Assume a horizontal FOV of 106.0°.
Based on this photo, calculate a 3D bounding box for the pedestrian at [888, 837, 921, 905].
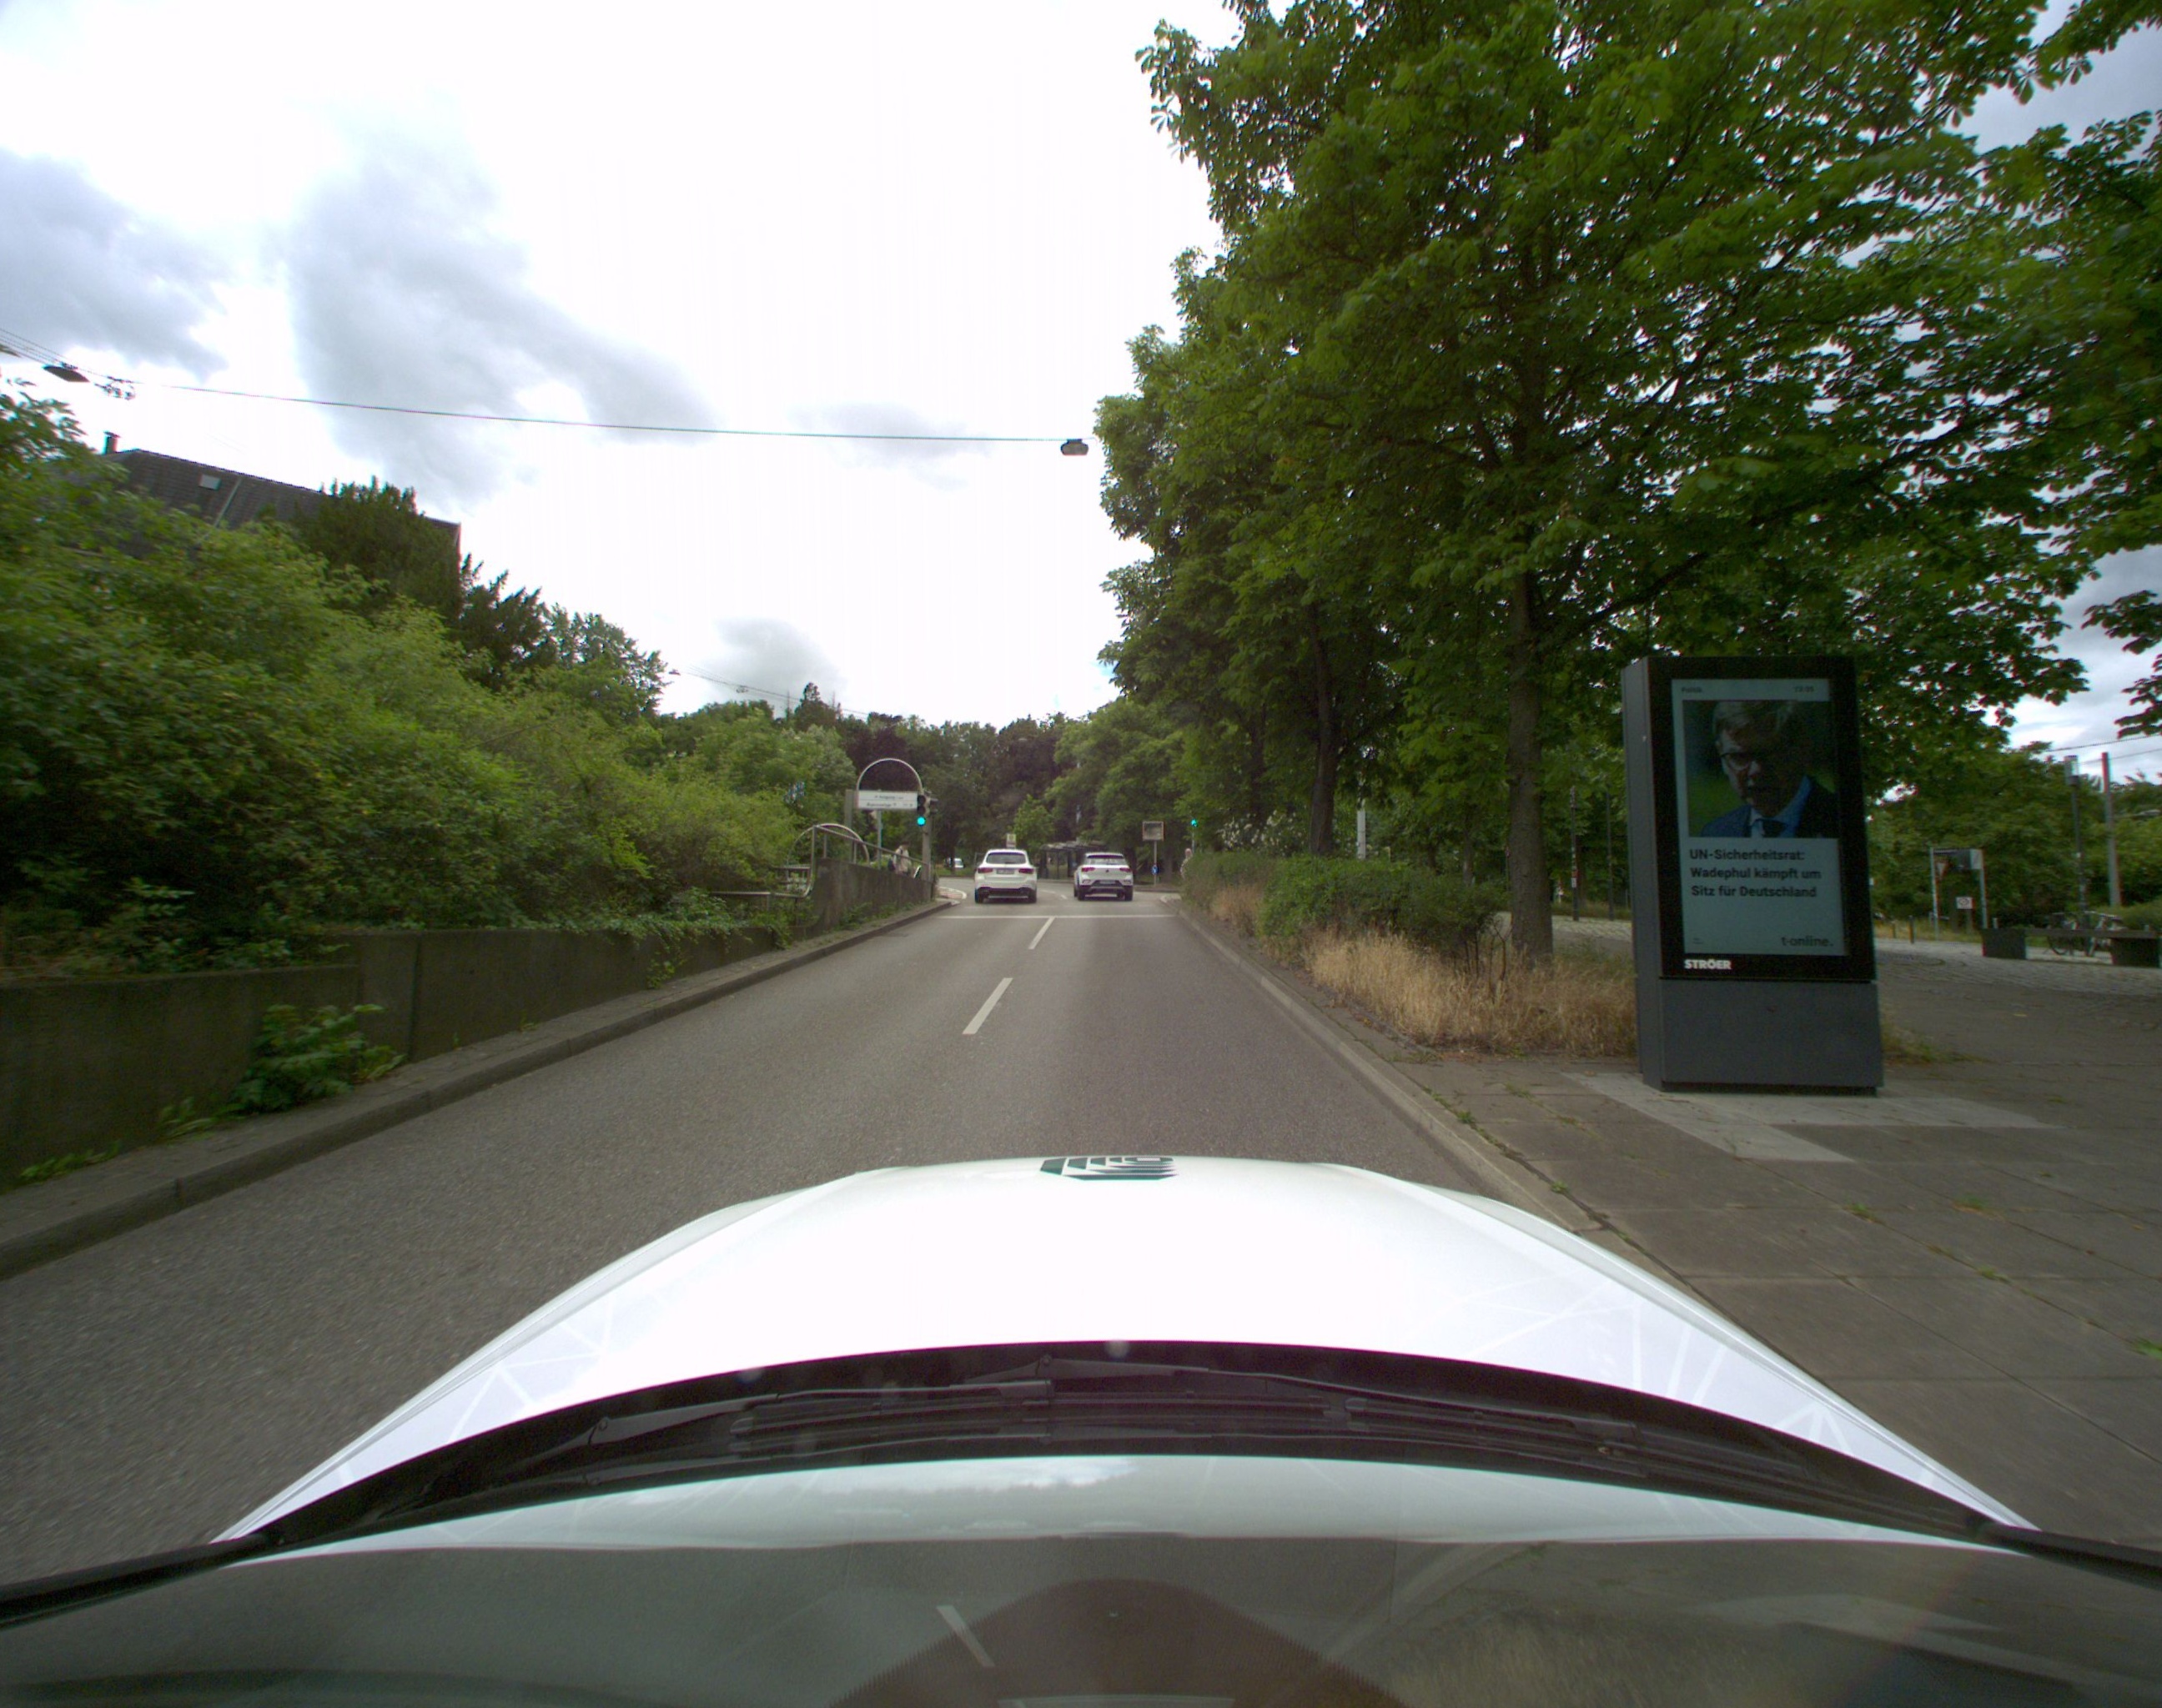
[{"bbox_3d":[-4.892,0.469,22.563,0.701,1.861,0.615,0,-1,8],"label":"pedestrian"}]

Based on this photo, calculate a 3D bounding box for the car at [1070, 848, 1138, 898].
[{"bbox_3d":[0.693,0.623,27.382,1.861,1.556,3.888,0,-1,-4],"label":"car"}]

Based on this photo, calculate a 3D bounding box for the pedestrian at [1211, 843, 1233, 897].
[{"bbox_3d":[4.517,0.509,26.182,0.612,1.712,0.728,-1,-1,5],"label":"pedestrian"}]

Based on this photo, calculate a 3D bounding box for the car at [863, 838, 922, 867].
[{"bbox_3d":[-11.757,-0.031,50.632,2.261,1.519,4.265,6,-4,-31],"label":"car"}]

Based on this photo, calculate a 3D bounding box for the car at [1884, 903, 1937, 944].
[{"bbox_3d":[45.819,3.803,45.070,1.975,2.014,4.023,1,-2,45],"label":"car"}]

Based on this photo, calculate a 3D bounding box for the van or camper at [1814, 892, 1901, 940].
[{"bbox_3d":[36.630,2.923,38.391,4.485,1.978,1.871,5,-3,-32],"label":"van or camper"}]

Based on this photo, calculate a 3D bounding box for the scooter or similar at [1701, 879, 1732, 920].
[{"bbox_3d":[20.202,1.454,25.909,0.458,1.248,1.327,2,-2,24],"label":"scooter or similar"}]

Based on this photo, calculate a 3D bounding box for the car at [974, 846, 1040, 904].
[{"bbox_3d":[-2.374,0.611,25.871,1.874,1.652,4.332,-1,0,-6],"label":"car"}]

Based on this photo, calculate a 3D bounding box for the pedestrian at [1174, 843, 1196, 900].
[{"bbox_3d":[3.195,0.531,24.953,0.612,1.712,0.728,-1,-1,5],"label":"pedestrian"}]

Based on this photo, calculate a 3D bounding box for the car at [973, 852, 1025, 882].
[{"bbox_3d":[-4.789,0.726,47.000,1.869,1.632,3.928,2,-1,-24],"label":"car"}]
